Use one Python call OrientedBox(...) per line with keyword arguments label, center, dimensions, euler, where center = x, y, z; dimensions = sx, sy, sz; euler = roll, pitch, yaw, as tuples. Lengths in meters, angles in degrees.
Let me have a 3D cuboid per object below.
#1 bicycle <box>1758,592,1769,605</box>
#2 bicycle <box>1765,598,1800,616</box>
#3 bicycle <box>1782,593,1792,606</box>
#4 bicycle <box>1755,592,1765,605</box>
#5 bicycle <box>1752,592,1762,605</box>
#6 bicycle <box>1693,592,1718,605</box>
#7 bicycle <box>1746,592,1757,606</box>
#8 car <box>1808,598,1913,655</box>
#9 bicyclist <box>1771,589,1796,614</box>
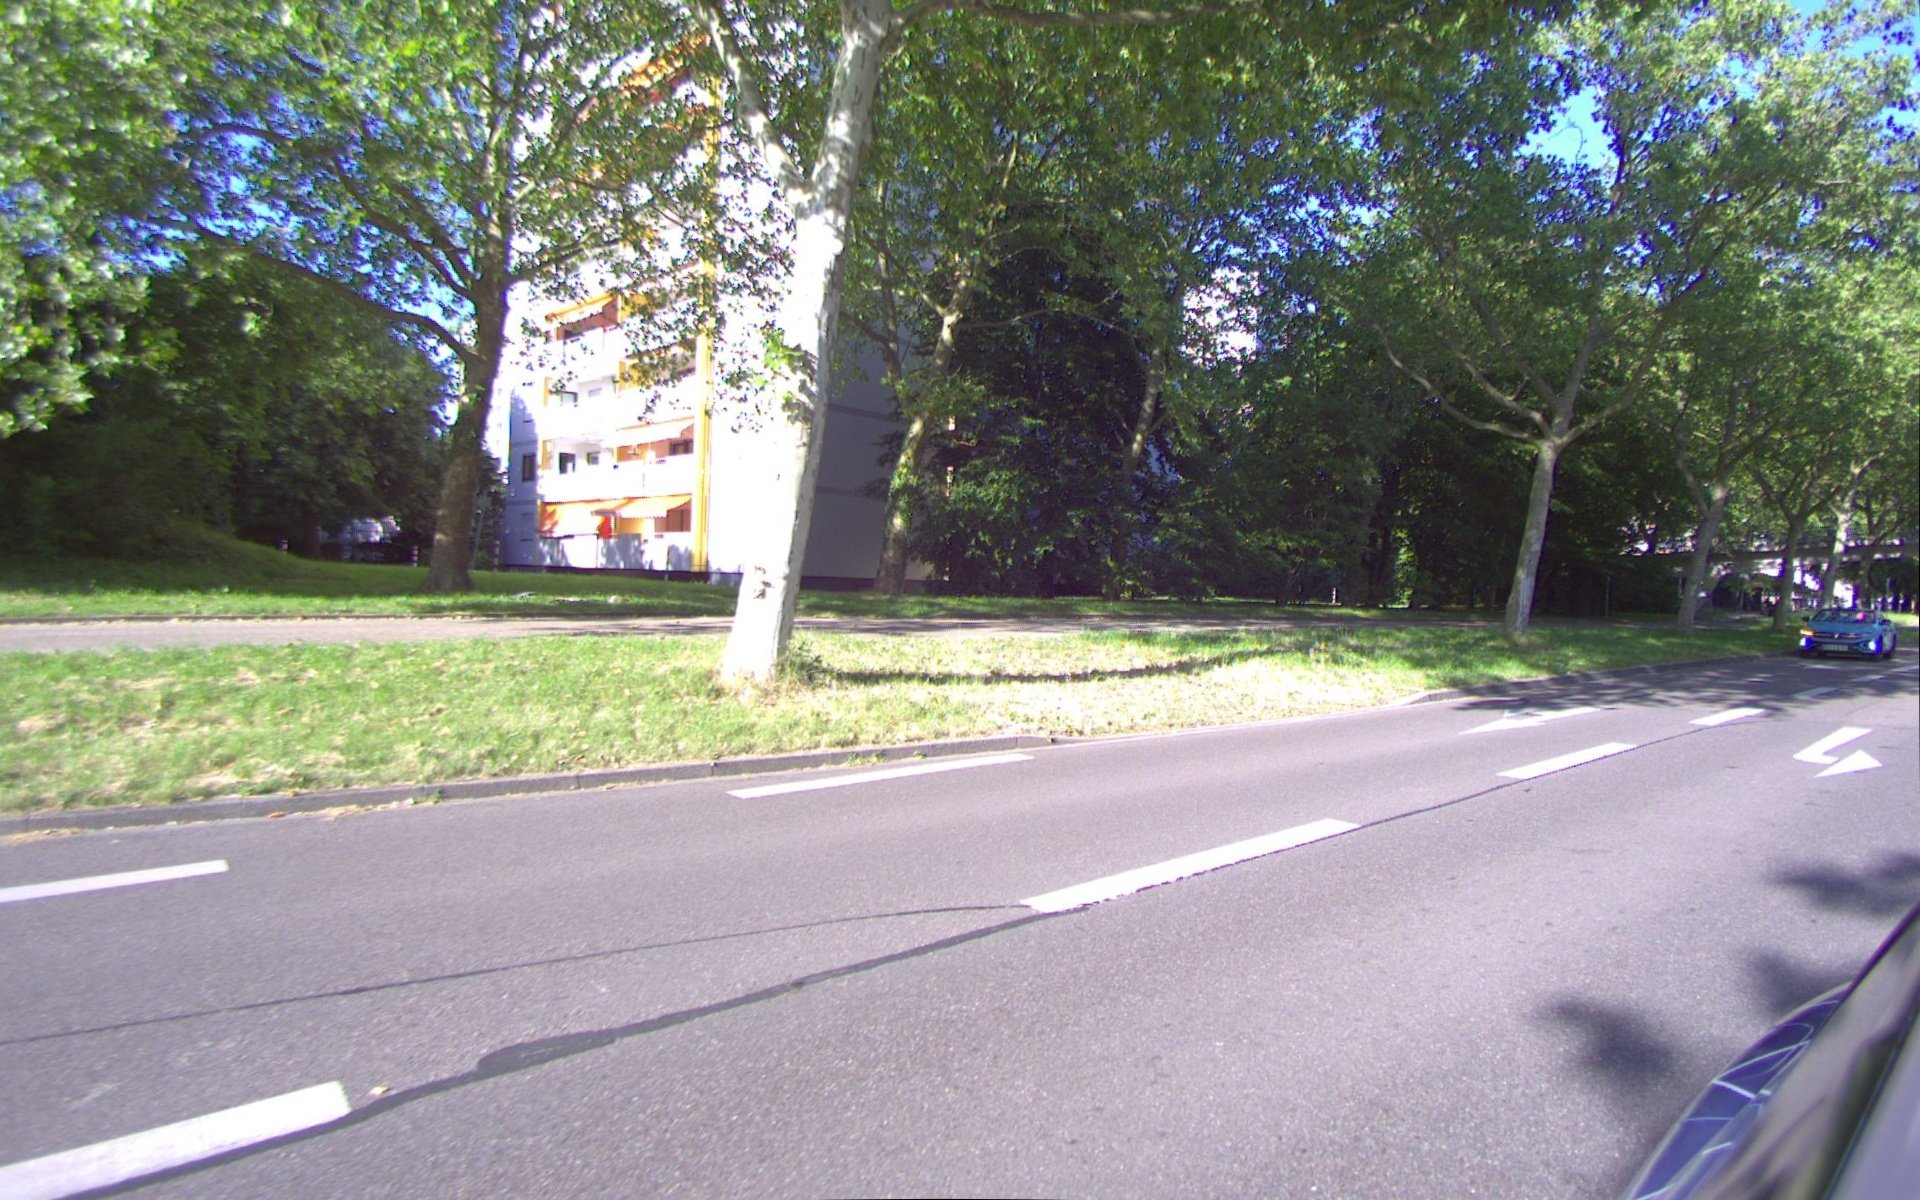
OrientedBox(label="bicycle", center=(82.106, -0.172, 103.399), dimensions=(1.776, 1.269, 0.576), euler=(0, 1, -43))
OrientedBox(label="bicycle", center=(59.574, 0.511, 73.338), dimensions=(0.798, 1.160, 1.840), euler=(4, 3, -5))
OrientedBox(label="bicycle", center=(84.643, -0.075, 103.625), dimensions=(1.776, 1.269, 0.576), euler=(0, 1, -43))
OrientedBox(label="bicycle", center=(79.112, -0.146, 100.088), dimensions=(1.776, 1.269, 0.576), euler=(0, 1, -43))
OrientedBox(label="bicycle", center=(77.679, -0.136, 98.628), dimensions=(1.776, 1.269, 0.576), euler=(0, 1, -43))
OrientedBox(label="bicycle", center=(71.509, -0.168, 97.091), dimensions=(1.799, 1.129, 0.700), euler=(4, 4, 42))
OrientedBox(label="bicycle", center=(74.924, -0.120, 95.816), dimensions=(1.776, 1.269, 0.576), euler=(0, 1, -43))
OrientedBox(label="car", center=(26.069, 0.732, 29.257), dimensions=(4.028, 1.502, 1.779), euler=(1, 0, -41))
OrientedBox(label="bicyclist", center=(59.608, 0.099, 73.268), dimensions=(0.798, 1.652, 0.958), euler=(3, 2, -5))
